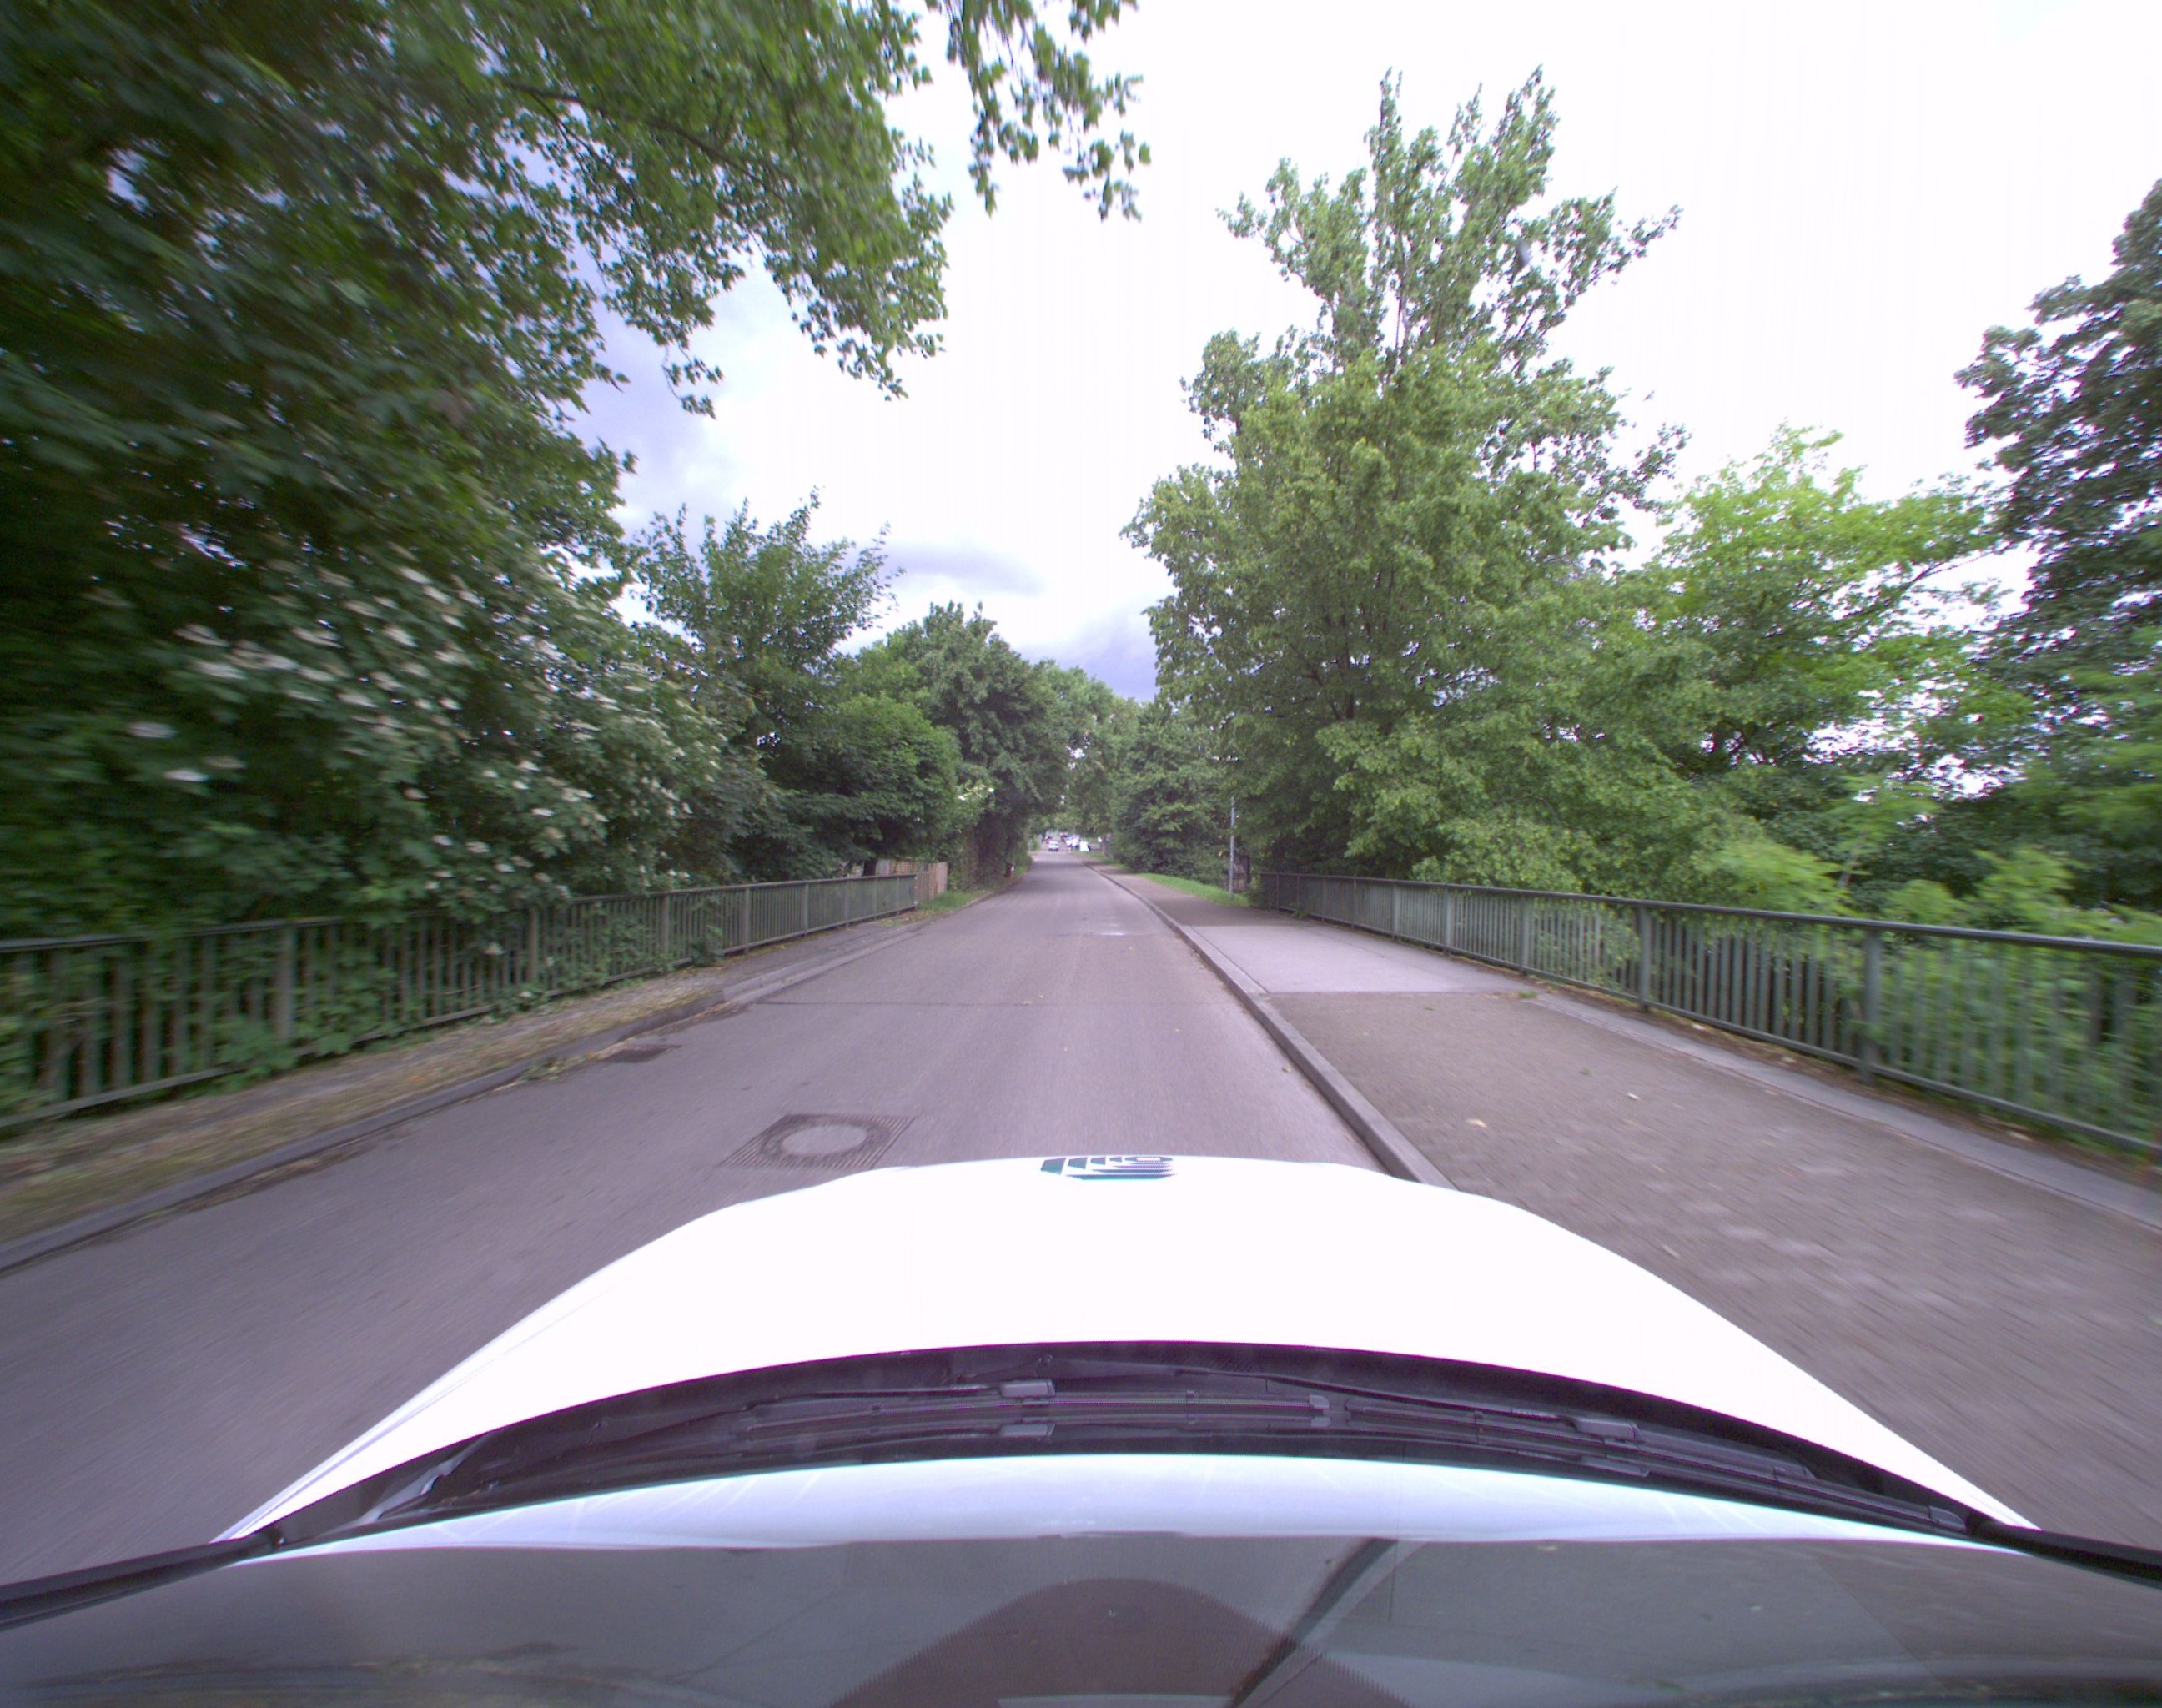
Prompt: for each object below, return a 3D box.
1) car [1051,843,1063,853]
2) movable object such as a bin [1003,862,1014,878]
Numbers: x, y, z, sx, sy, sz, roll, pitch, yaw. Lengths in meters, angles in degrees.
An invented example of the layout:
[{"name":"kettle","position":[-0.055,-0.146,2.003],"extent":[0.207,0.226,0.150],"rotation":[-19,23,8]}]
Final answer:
[{"name":"car","position":[-4.411,-1.096,149.726],"extent":[1.987,1.772,3.998],"rotation":[1,-1,-1]},{"name":"movable object such as a bin","position":[-4.204,0.921,47.477],"extent":[0.588,0.957,0.470],"rotation":[1,-1,-1]}]
